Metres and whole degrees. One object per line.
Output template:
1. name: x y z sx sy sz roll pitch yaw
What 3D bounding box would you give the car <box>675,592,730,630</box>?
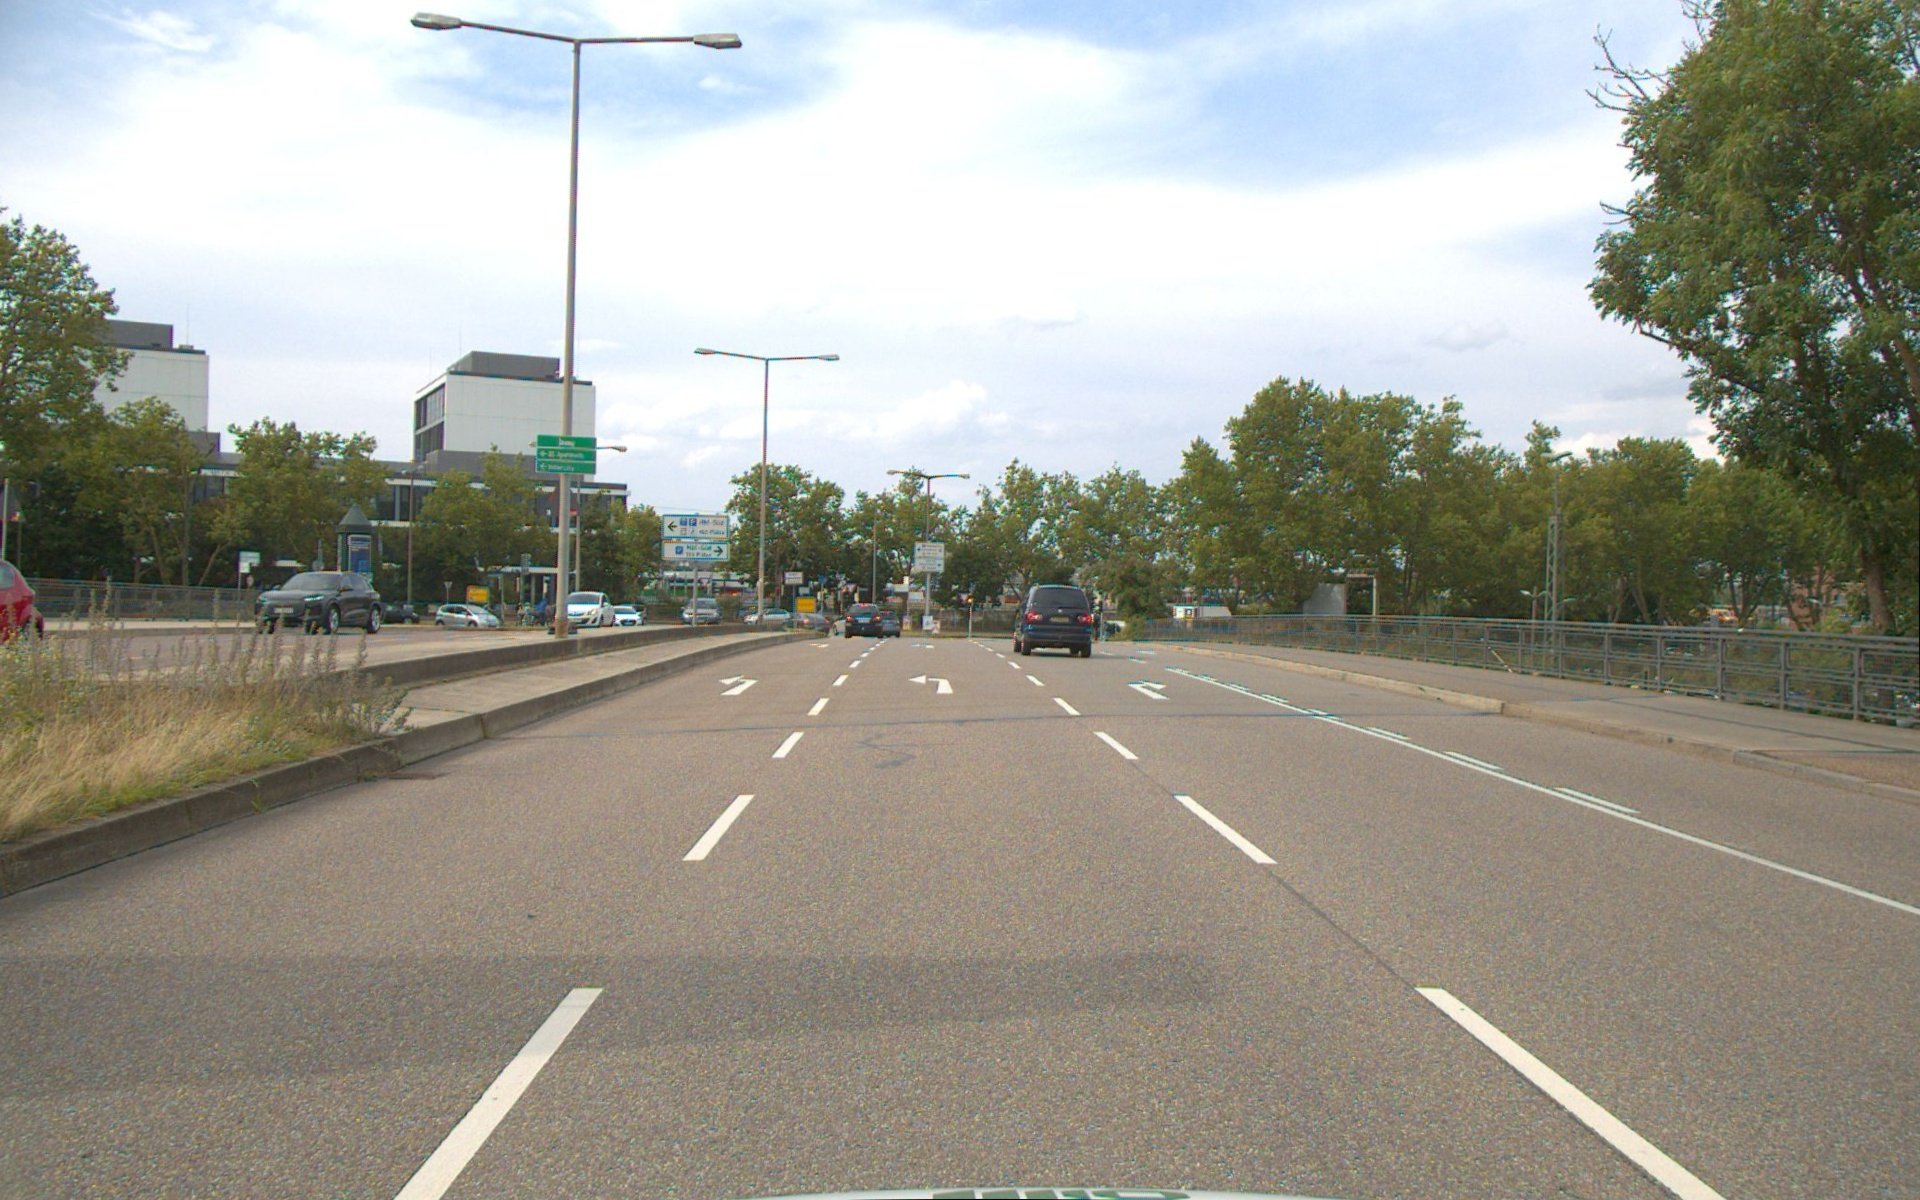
1. car: -11.728 0.508 75.575 1.849 1.668 4.583 1 0 -1

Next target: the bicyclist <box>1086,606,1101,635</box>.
1. bicyclist: 7.972 1.207 98.687 0.794 1.726 1.116 1 -1 1

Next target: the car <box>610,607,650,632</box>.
1. car: -20.075 1.153 100.451 1.889 1.440 4.856 0 0 -18

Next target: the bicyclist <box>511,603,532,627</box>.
1. bicyclist: -27.029 0.927 101.885 0.633 1.461 1.115 1 0 30

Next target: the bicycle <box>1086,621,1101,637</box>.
1. bicycle: 7.975 1.719 98.792 0.792 0.969 2.236 1 -1 2

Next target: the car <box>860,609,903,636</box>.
1. car: -4.787 1.367 100.215 1.713 1.573 4.063 1 -1 -16

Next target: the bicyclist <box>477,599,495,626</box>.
1. bicyclist: -28.469 0.747 99.380 0.617 1.556 0.836 0 -1 41

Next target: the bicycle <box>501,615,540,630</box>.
1. bicycle: -27.062 1.385 101.824 0.689 0.905 2.587 1 0 30

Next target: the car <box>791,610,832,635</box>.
1. car: -9.237 1.391 102.623 1.788 1.439 4.759 2 -1 -14

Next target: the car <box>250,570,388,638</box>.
1. car: -16.964 0.107 44.007 1.848 1.668 4.545 1 0 0

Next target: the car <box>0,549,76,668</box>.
1. car: -13.478 0.098 21.718 1.688 1.559 3.916 1 0 -2

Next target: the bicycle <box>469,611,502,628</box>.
1. bicycle: -28.501 1.169 99.330 0.617 1.031 1.896 1 -1 41

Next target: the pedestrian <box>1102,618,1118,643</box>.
1. pedestrian: 10.586 2.163 116.465 1.025 1.740 0.854 2 -1 9

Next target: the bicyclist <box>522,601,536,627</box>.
1. bicyclist: -26.996 0.882 103.567 0.767 1.609 0.651 1 -1 -19

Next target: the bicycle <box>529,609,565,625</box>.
1. bicycle: -25.265 1.031 101.164 0.794 0.969 2.231 0 -1 30

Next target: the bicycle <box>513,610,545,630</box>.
1. bicycle: -26.997 1.239 103.580 1.872 1.231 0.639 1 -1 -19

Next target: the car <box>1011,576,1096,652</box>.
1. car: 2.324 0.398 41.929 1.715 1.755 4.135 3 -2 -2

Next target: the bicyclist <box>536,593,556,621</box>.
1. bicyclist: -25.294 0.444 101.139 0.794 1.685 0.882 0 -1 30

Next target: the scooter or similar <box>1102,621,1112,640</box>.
1. scooter or similar: 9.238 1.935 103.934 0.389 1.204 1.278 1 -2 -8

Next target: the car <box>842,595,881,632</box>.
1. car: -4.622 0.615 77.194 1.722 1.603 4.033 2 0 -4

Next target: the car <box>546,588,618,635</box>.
1. car: -14.139 0.410 62.064 1.849 1.668 4.215 1 0 -3

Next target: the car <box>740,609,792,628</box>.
1. car: -15.320 1.447 130.568 3.793 1.435 1.611 0 -2 -22

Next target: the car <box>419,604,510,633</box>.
1. car: -27.965 1.042 93.386 4.766 1.553 1.925 -1 0 23

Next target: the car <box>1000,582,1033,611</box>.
1. car: 3.487 -0.177 102.252 1.657 1.613 4.154 3 -2 -2
